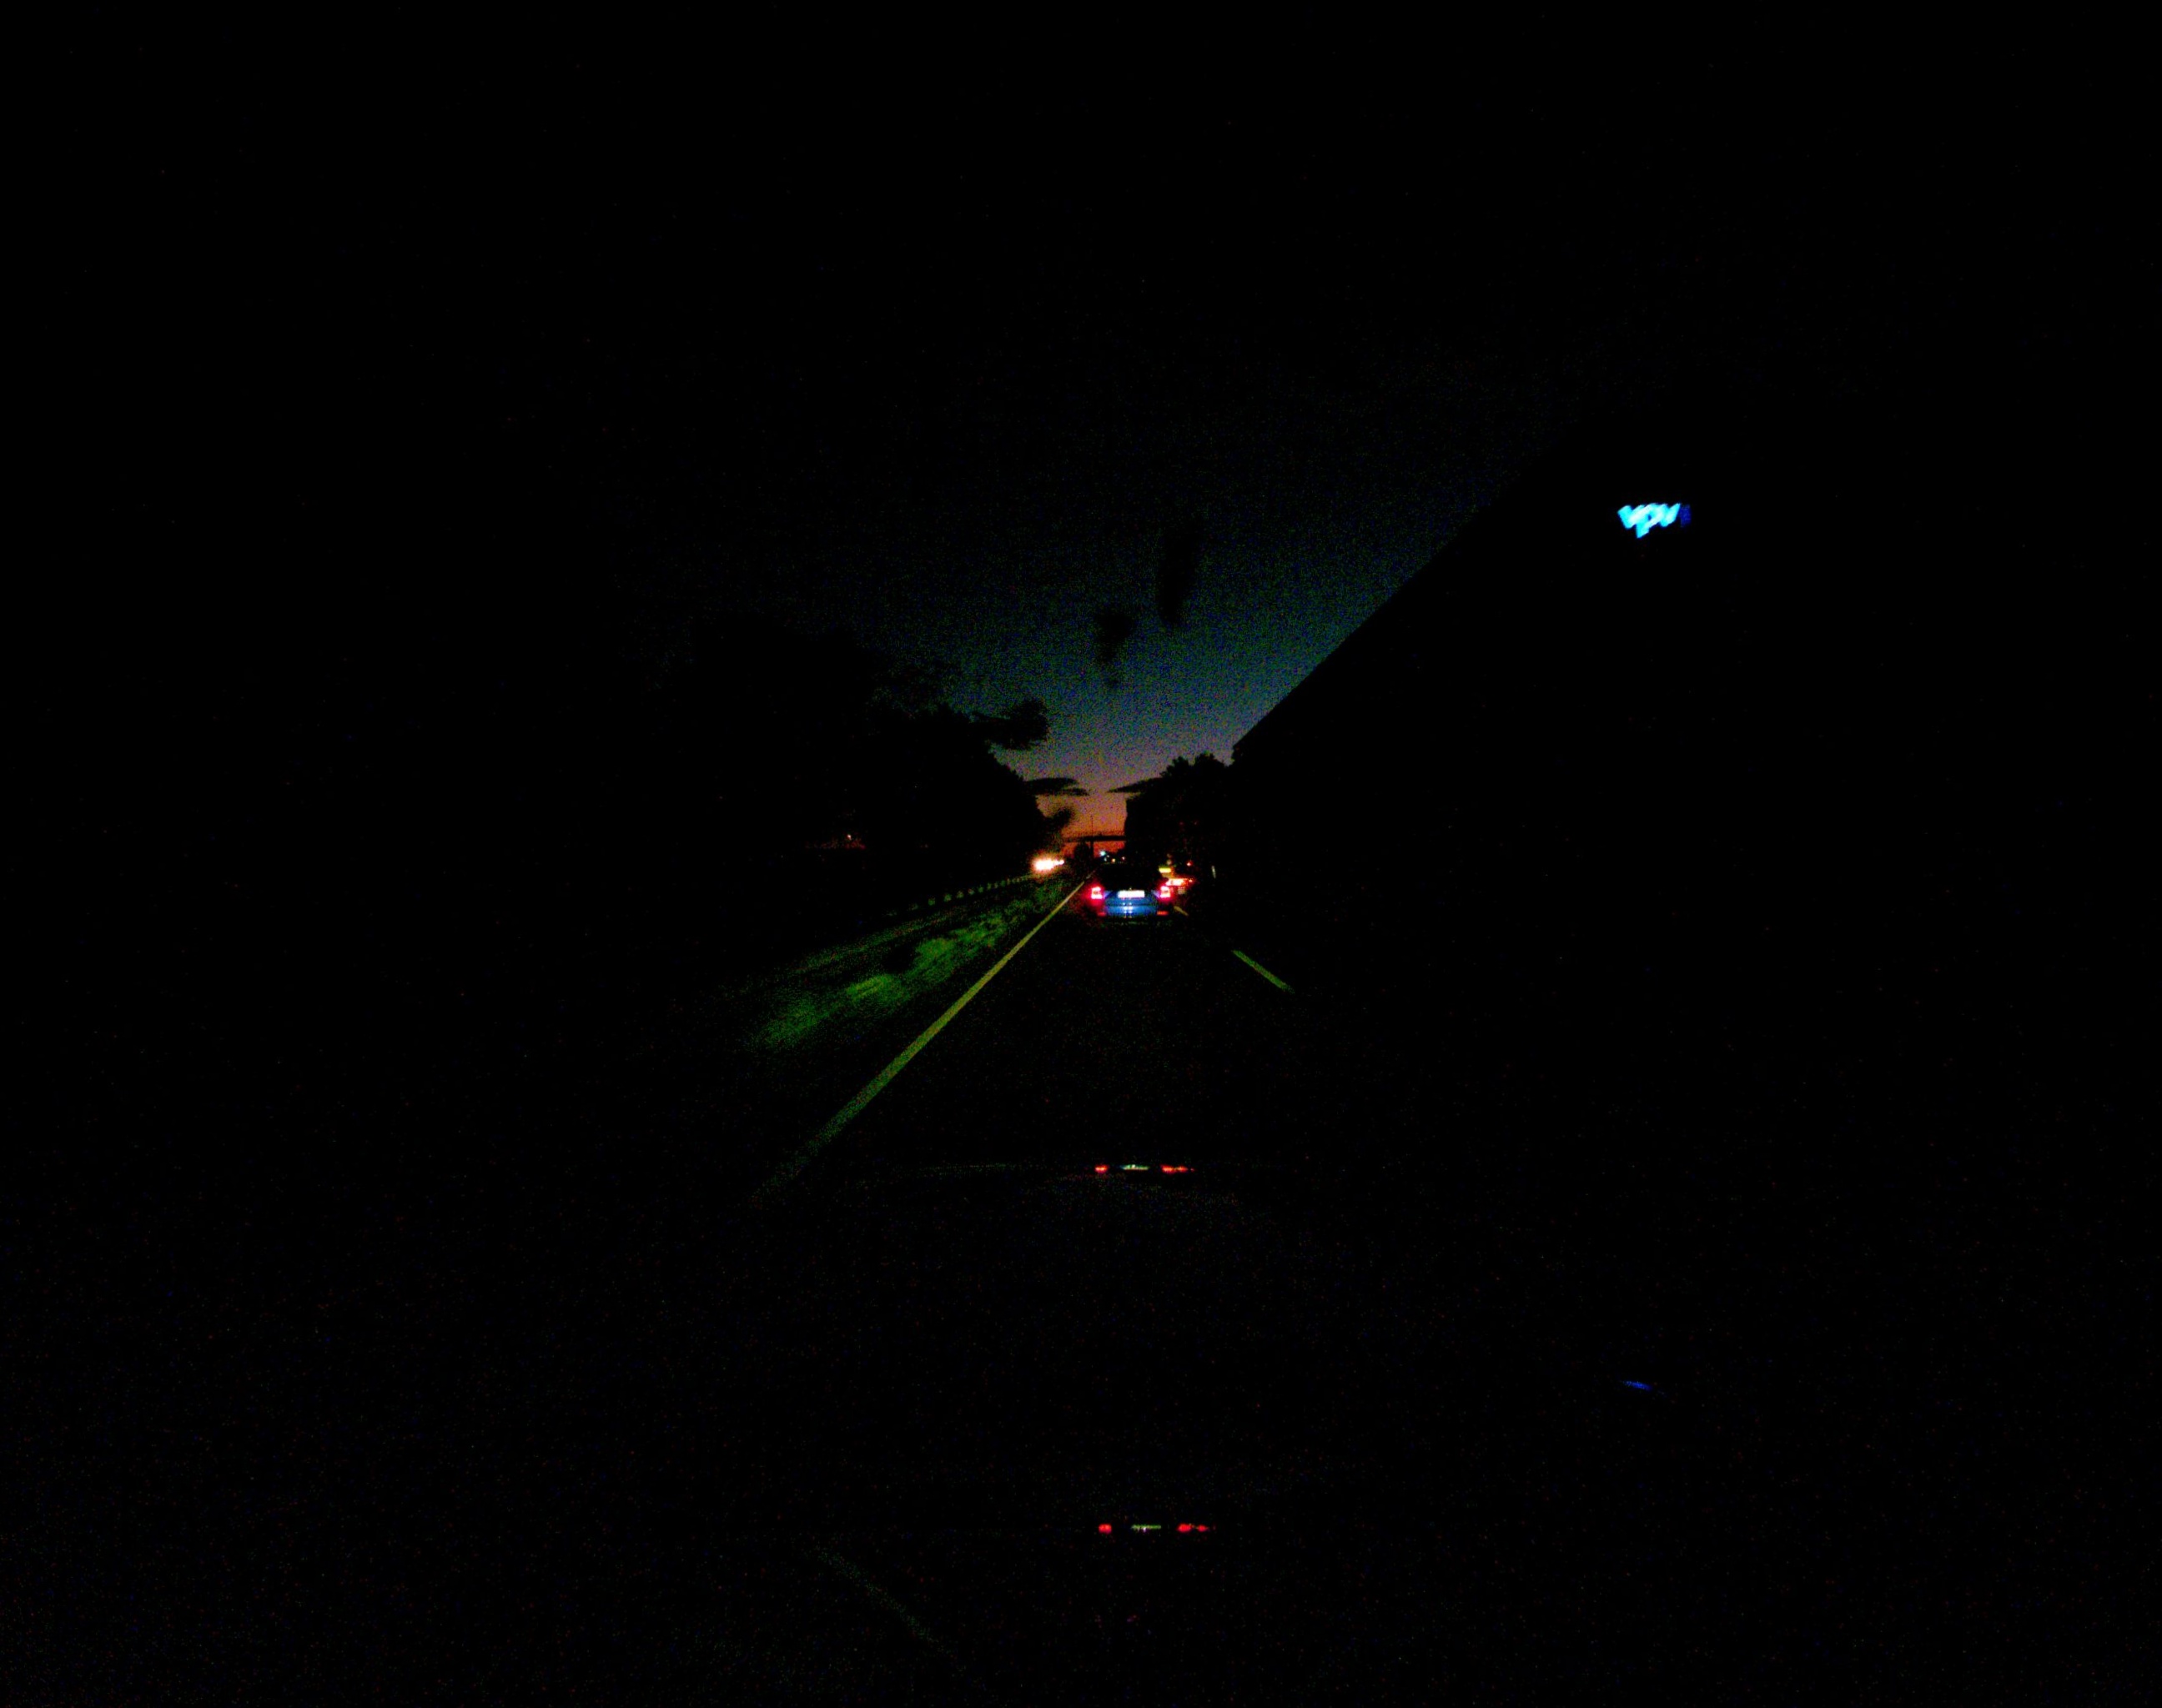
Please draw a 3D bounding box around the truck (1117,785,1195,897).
[{"bbox_3d":[3.075,-0.413,36.699,2.677,4.106,13.145,-1,-1,2],"label":"truck"}]

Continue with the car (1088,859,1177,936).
[{"bbox_3d":[1.051,0.856,17.584,1.689,1.452,3.915,-1,-1,2],"label":"car"}]

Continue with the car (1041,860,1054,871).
[{"bbox_3d":[-4.969,1.640,120.451,1.676,1.587,4.168,-1,0,2],"label":"car"}]

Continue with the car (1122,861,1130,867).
[{"bbox_3d":[10.172,2.317,185.038,1.689,1.452,3.915,-1,-1,2],"label":"car"}]

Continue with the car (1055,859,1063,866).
[{"bbox_3d":[-4.952,1.896,183.812,1.611,1.507,3.870,-1,-1,2],"label":"car"}]

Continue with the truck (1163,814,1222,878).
[{"bbox_3d":[7.788,-0.465,58.694,2.872,4.106,12.687,-1,-1,2],"label":"truck"}]
